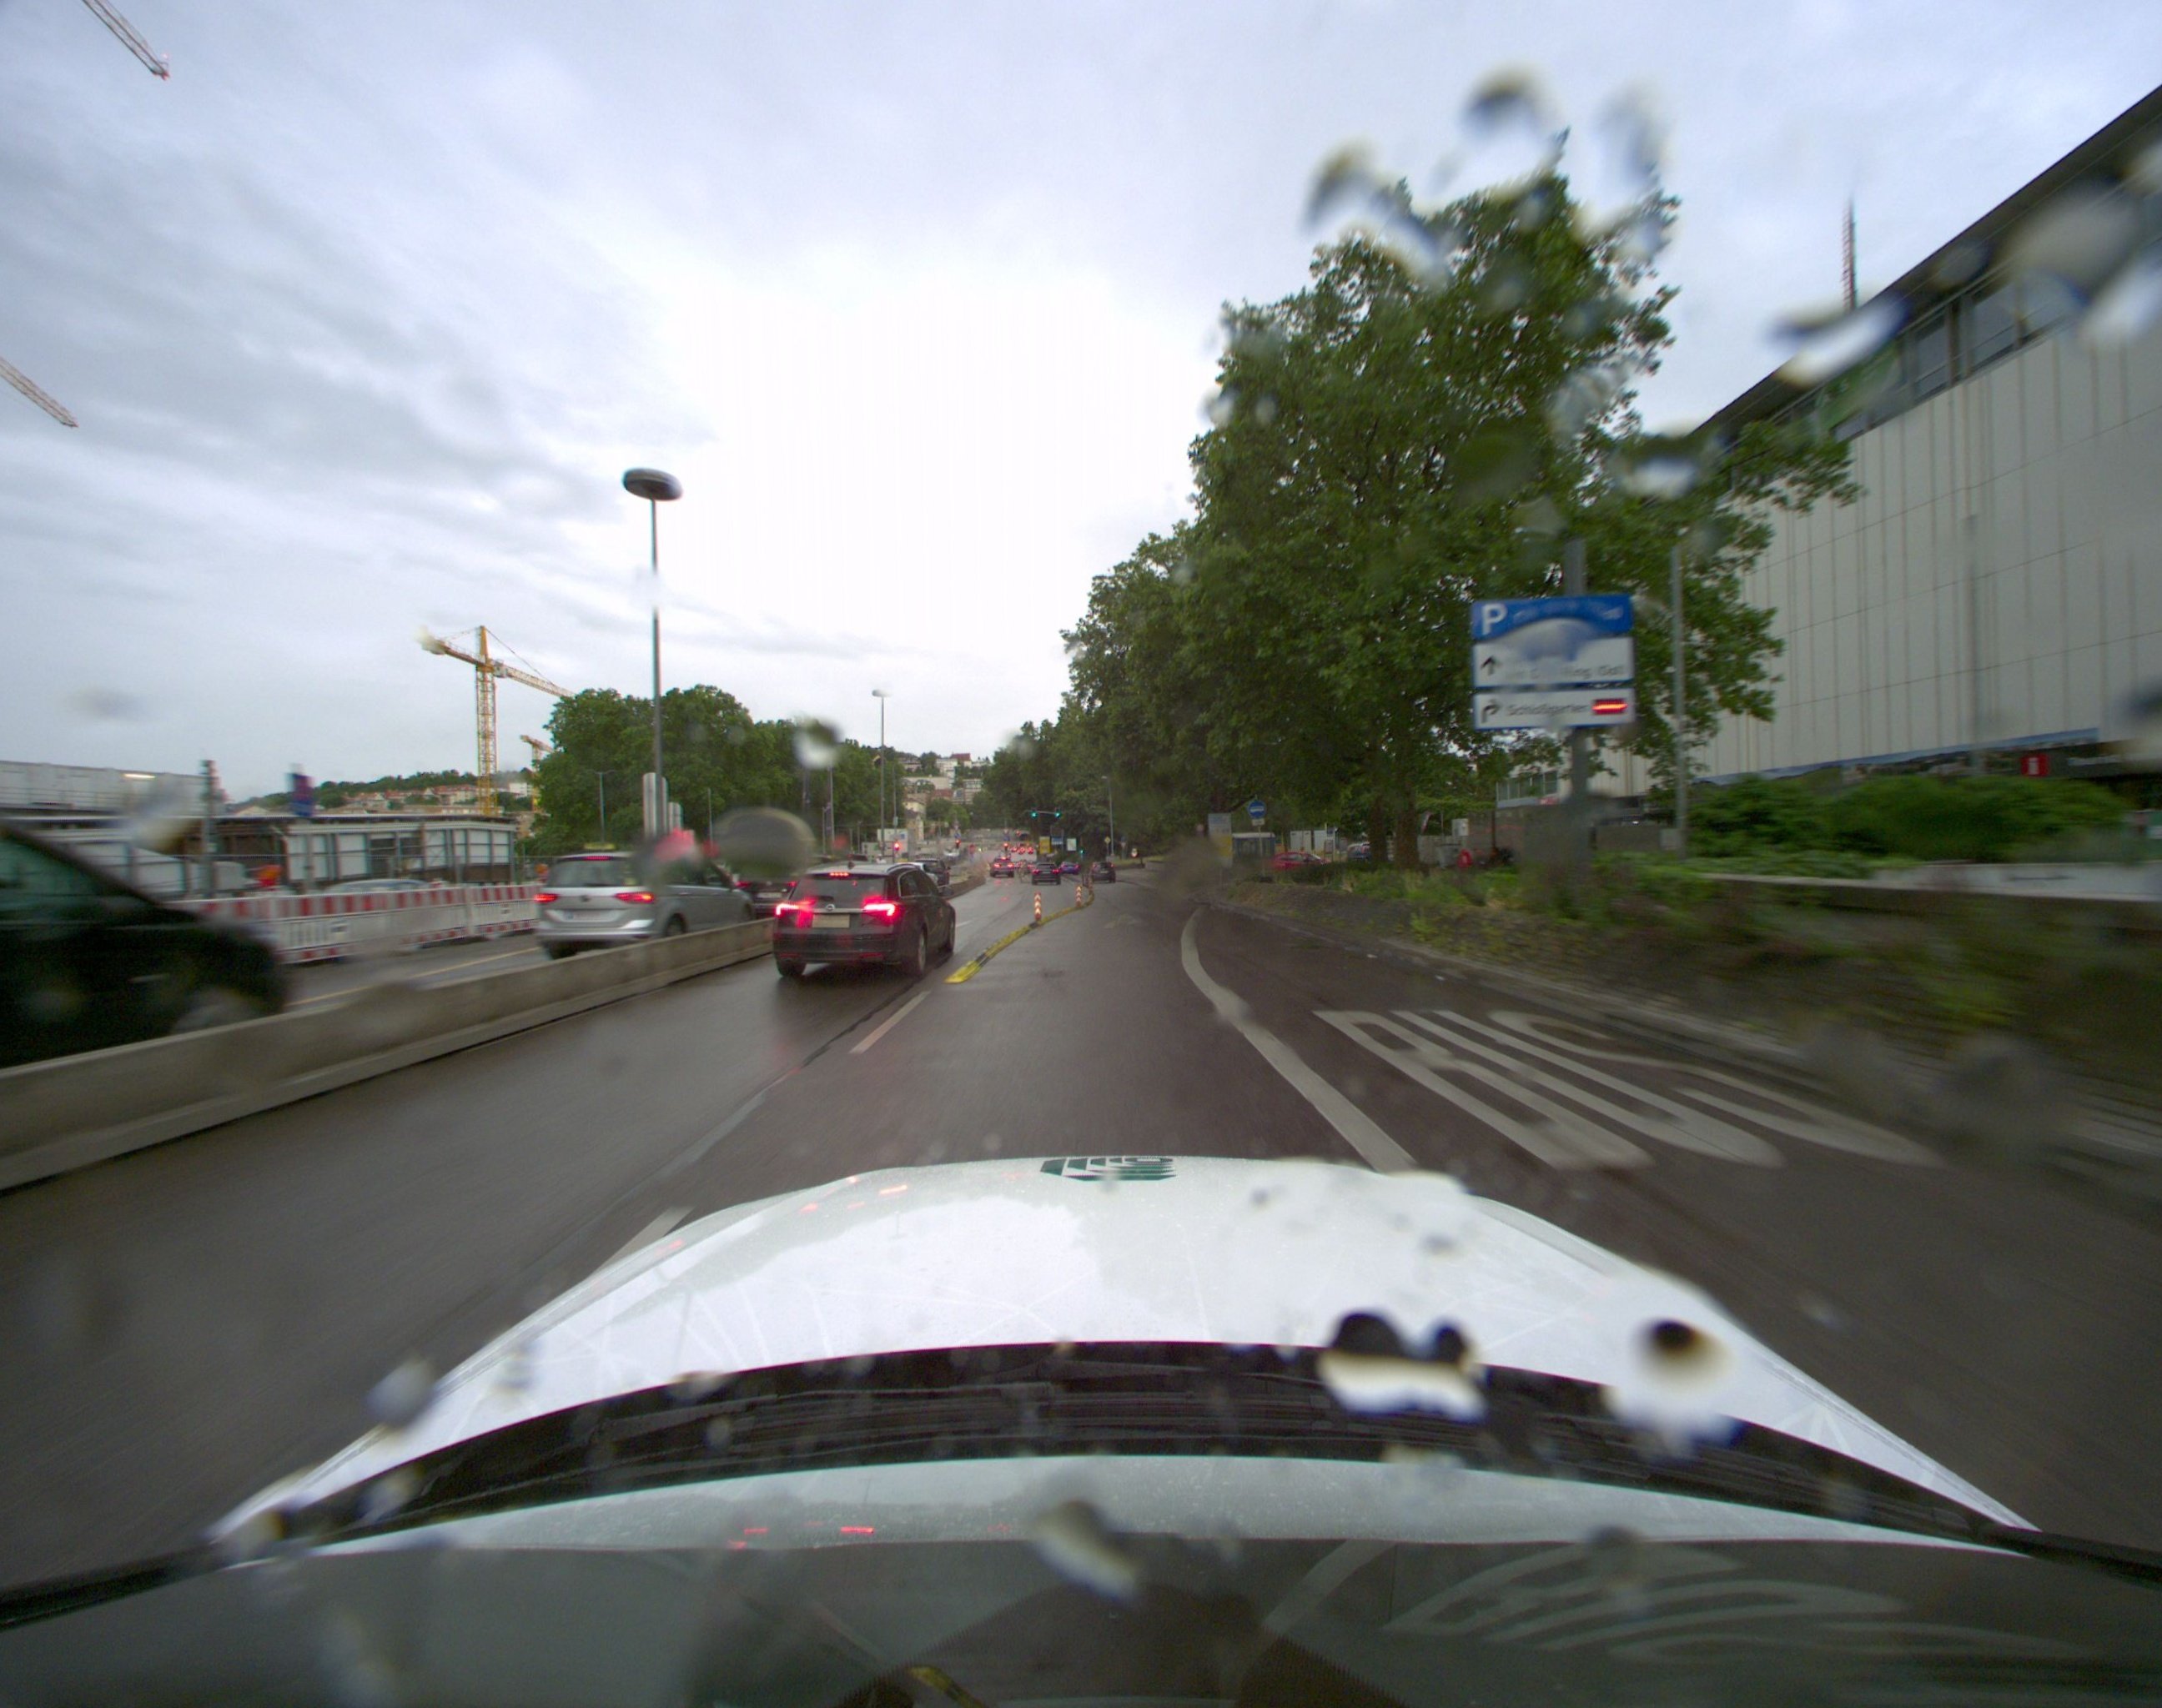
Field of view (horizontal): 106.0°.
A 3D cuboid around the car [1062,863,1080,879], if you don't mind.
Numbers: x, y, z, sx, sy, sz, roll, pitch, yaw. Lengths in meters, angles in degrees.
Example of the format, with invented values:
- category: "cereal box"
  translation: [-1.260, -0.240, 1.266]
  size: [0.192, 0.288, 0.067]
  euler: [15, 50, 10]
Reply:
- category: "car"
  translation: [-0.962, 1.690, 81.090]
  size: [1.668, 1.581, 3.240]
  euler: [0, -1, 2]

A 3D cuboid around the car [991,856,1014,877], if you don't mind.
- category: "car"
  translation: [-7.252, 1.158, 75.084]
  size: [1.992, 1.827, 3.989]
  euler: [0, -1, -8]

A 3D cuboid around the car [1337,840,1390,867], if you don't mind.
- category: "car"
  translation: [22.479, -0.018, 64.718]
  size: [4.675, 2.014, 2.107]
  euler: [1, -1, -45]

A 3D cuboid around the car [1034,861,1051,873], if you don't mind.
- category: "car"
  translation: [-5.273, 1.781, 111.338]
  size: [1.636, 1.624, 3.778]
  euler: [0, -1, -13]

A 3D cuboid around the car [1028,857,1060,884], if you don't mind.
- category: "car"
  translation: [-2.372, 1.037, 53.414]
  size: [1.824, 1.686, 4.134]
  euler: [-1, 0, 0]

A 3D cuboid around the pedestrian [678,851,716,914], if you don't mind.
- category: "pedestrian"
  translation: [-10.762, 0.792, 22.852]
  size: [0.632, 1.753, 0.823]
  euler: [0, -1, 5]

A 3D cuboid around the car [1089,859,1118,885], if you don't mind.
- category: "car"
  translation: [1.459, 1.192, 54.816]
  size: [1.846, 1.717, 3.999]
  euler: [0, -1, 0]

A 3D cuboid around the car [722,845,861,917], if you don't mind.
- category: "car"
  translation: [-6.726, 0.592, 19.456]
  size: [1.819, 1.511, 4.487]
  euler: [0, -1, -2]

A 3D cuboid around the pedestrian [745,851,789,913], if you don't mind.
- category: "pedestrian"
  translation: [-9.204, 0.805, 23.904]
  size: [0.830, 1.784, 1.029]
  euler: [-1, 0, 4]

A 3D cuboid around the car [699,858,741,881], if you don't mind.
- category: "car"
  translation: [-45.586, 1.914, 102.992]
  size: [2.375, 2.702, 5.792]
  euler: [-3, -1, 2]

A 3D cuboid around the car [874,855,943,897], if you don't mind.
- category: "car"
  translation: [-7.287, 0.898, 34.957]
  size: [1.988, 1.567, 4.872]
  euler: [-3, -1, -2]

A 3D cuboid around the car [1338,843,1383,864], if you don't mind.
- category: "car"
  translation: [25.167, -0.011, 73.195]
  size: [4.479, 1.781, 1.927]
  euler: [1, -1, -42]

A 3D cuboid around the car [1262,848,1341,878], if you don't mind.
- category: "car"
  translation: [11.591, 0.491, 42.879]
  size: [3.573, 1.506, 1.745]
  euler: [-1, -1, 40]

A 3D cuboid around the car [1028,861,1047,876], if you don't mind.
- category: "car"
  translation: [-4.954, 1.645, 92.452]
  size: [1.898, 1.717, 3.999]
  euler: [0, -1, 0]

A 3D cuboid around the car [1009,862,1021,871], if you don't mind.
- category: "car"
  translation: [-11.185, 2.069, 138.068]
  size: [1.813, 1.574, 3.988]
  euler: [0, -1, -8]

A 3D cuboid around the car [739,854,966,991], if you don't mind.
- category: "car"
  translation: [-2.901, 0.778, 11.557]
  size: [1.872, 1.508, 4.850]
  euler: [-1, 0, -1]

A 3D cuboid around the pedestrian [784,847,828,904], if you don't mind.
- category: "pedestrian"
  translation: [-8.277, 0.649, 24.547]
  size: [1.021, 1.675, 0.836]
  euler: [-1, 0, 2]

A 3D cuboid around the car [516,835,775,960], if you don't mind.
- category: "car"
  translation: [-6.811, 0.613, 13.473]
  size: [1.819, 1.696, 4.770]
  euler: [0, -1, -2]

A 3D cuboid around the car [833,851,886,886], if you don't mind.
- category: "car"
  translation: [-10.958, 0.703, 40.504]
  size: [1.710, 1.629, 4.051]
  euler: [0, -1, -3]

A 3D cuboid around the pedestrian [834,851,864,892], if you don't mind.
- category: "pedestrian"
  translation: [-9.762, 0.732, 34.320]
  size: [1.022, 1.682, 0.835]
  euler: [-1, 0, -2]

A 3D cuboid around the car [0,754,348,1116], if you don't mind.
- category: "car"
  translation: [-6.480, 0.407, 3.584]
  size: [1.988, 1.845, 5.058]
  euler: [0, -1, -2]

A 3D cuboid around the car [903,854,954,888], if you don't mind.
- category: "car"
  translation: [-7.518, 0.815, 40.403]
  size: [1.990, 1.530, 4.145]
  euler: [-3, -1, -5]

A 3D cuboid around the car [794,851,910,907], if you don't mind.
- category: "car"
  translation: [-6.769, 0.715, 24.685]
  size: [1.965, 1.511, 5.007]
  euler: [0, -1, 2]

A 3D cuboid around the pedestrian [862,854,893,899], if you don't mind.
- category: "pedestrian"
  translation: [-9.123, 1.006, 36.579]
  size: [1.015, 2.013, 0.841]
  euler: [-1, 0, 26]

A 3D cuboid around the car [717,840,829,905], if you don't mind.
- category: "car"
  translation: [-10.355, 0.608, 27.888]
  size: [1.989, 2.014, 5.363]
  euler: [0, -1, -3]
